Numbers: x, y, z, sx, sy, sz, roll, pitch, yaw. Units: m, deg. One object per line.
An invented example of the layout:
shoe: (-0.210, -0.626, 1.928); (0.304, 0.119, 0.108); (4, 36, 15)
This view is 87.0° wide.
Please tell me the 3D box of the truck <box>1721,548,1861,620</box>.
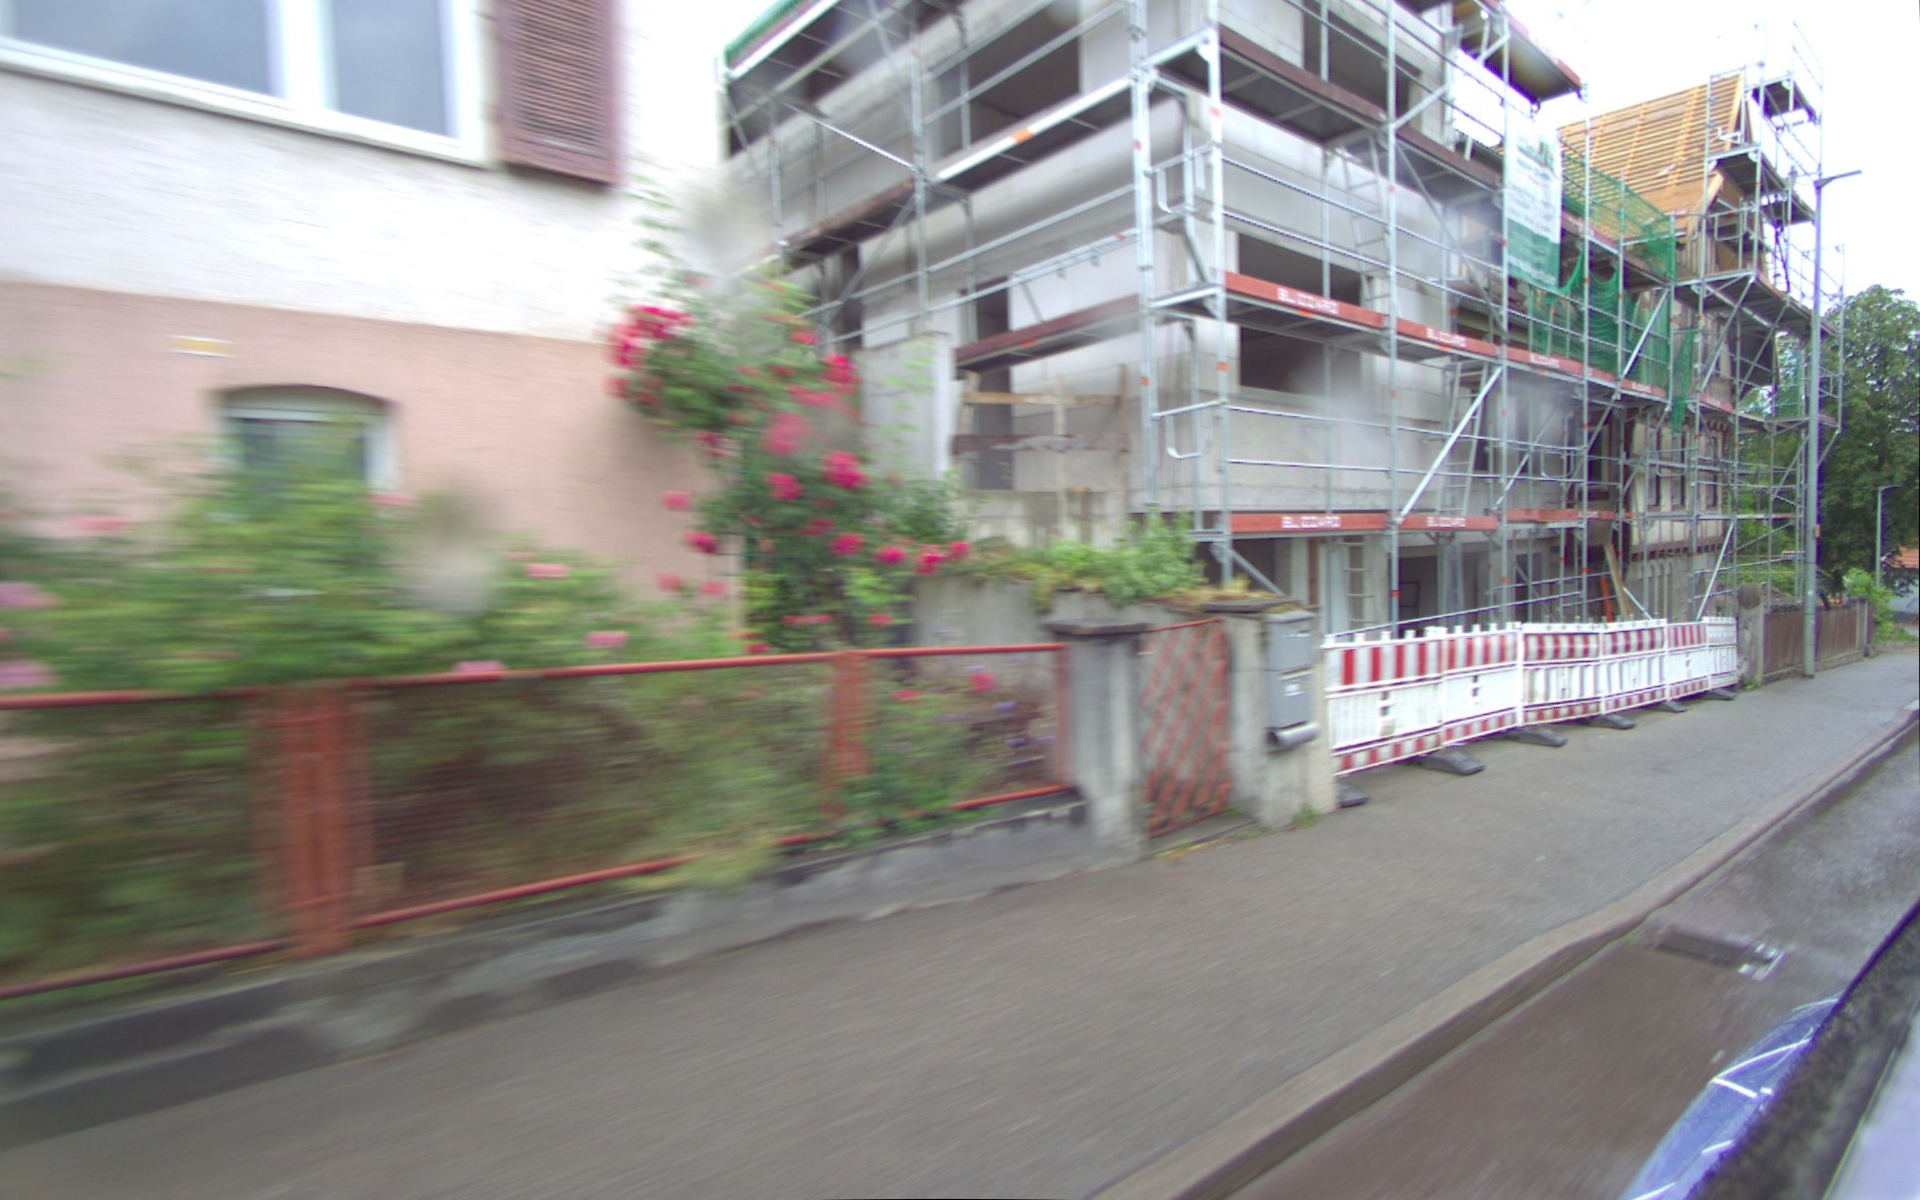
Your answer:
truck: (50.407, -0.932, 61.832); (2.818, 4.018, 10.373); (0, 0, 17)
